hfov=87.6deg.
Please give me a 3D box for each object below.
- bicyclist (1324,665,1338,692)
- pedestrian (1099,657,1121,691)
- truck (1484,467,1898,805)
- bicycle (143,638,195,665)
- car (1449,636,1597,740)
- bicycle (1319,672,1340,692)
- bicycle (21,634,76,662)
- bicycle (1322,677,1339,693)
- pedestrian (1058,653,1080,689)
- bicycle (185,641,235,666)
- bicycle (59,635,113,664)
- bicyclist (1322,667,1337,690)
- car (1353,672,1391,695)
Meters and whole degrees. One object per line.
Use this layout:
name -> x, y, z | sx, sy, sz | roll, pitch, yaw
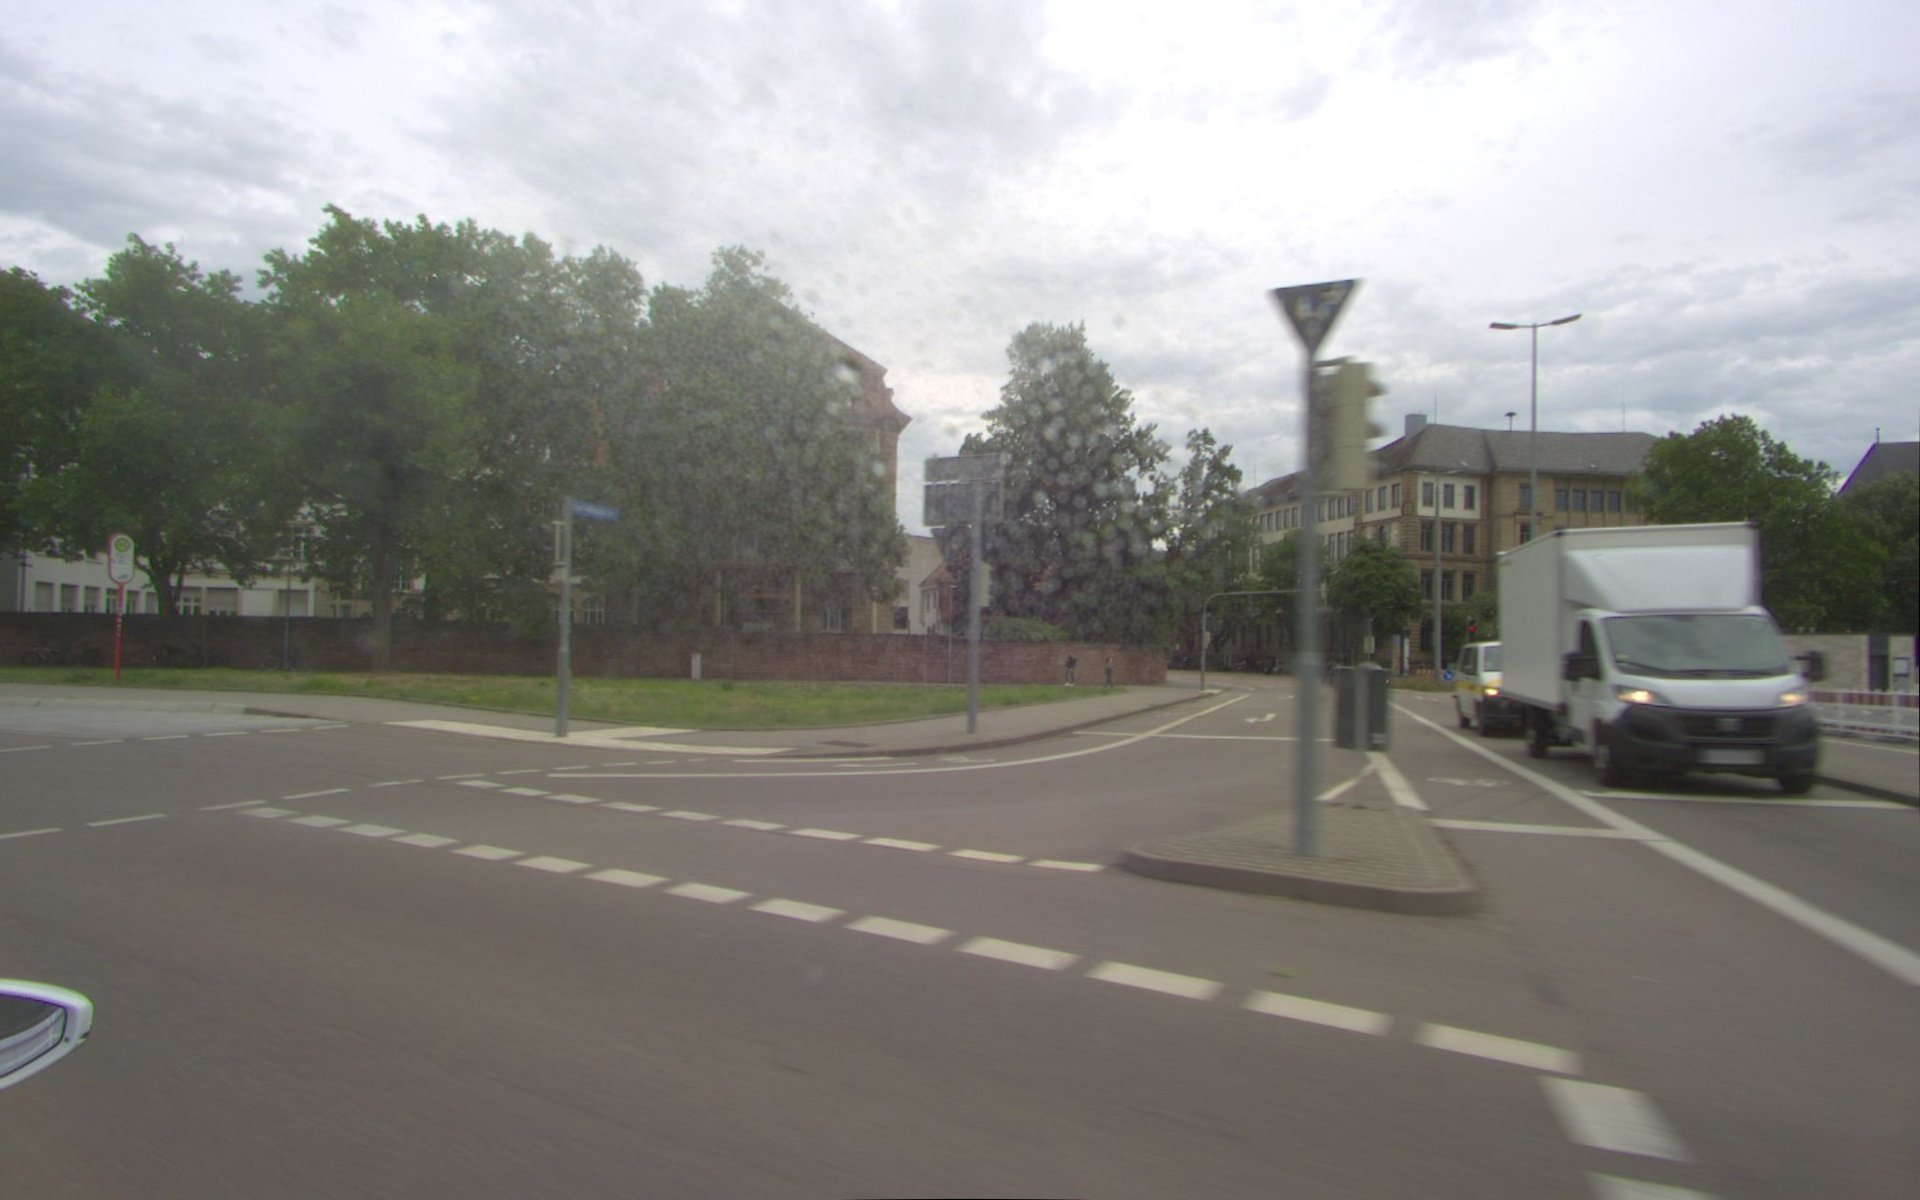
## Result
bicyclist -> 22.338, 4.732, 60.324 | 0.590, 1.541, 0.782 | 1, 0, 8
pedestrian -> 7.463, 3.686, 49.800 | 0.683, 1.659, 0.868 | 1, -2, 37
truck -> 9.361, 0.608, 13.886 | 2.515, 3.452, 6.851 | -1, -4, 18
bicycle -> -33.341, 2.157, 42.210 | 1.680, 1.073, 0.596 | 2, -1, -3
car -> 11.839, 1.830, 21.392 | 1.887, 1.942, 4.710 | -2, -4, 19
bicycle -> 23.206, 5.139, 62.890 | 0.777, 1.052, 2.221 | 1, -1, 9
bicycle -> -38.404, 2.014, 42.184 | 1.680, 1.151, 0.596 | 2, 0, -3
bicycle -> 22.330, 5.133, 60.343 | 0.590, 0.830, 1.821 | 1, -1, 8
pedestrian -> 5.554, 3.606, 51.053 | 0.812, 1.758, 0.753 | 2, -1, -33
bicycle -> -31.650, 2.241, 42.270 | 1.606, 1.005, 0.551 | 2, -1, -6
bicycle -> -36.696, 2.068, 42.052 | 1.680, 1.144, 0.596 | 2, 0, -3
bicyclist -> 23.214, 4.904, 62.919 | 0.777, 1.375, 0.741 | 1, 0, 9
car -> 25.426, 5.133, 61.928 | 1.419, 1.171, 3.536 | 1, -1, 10
